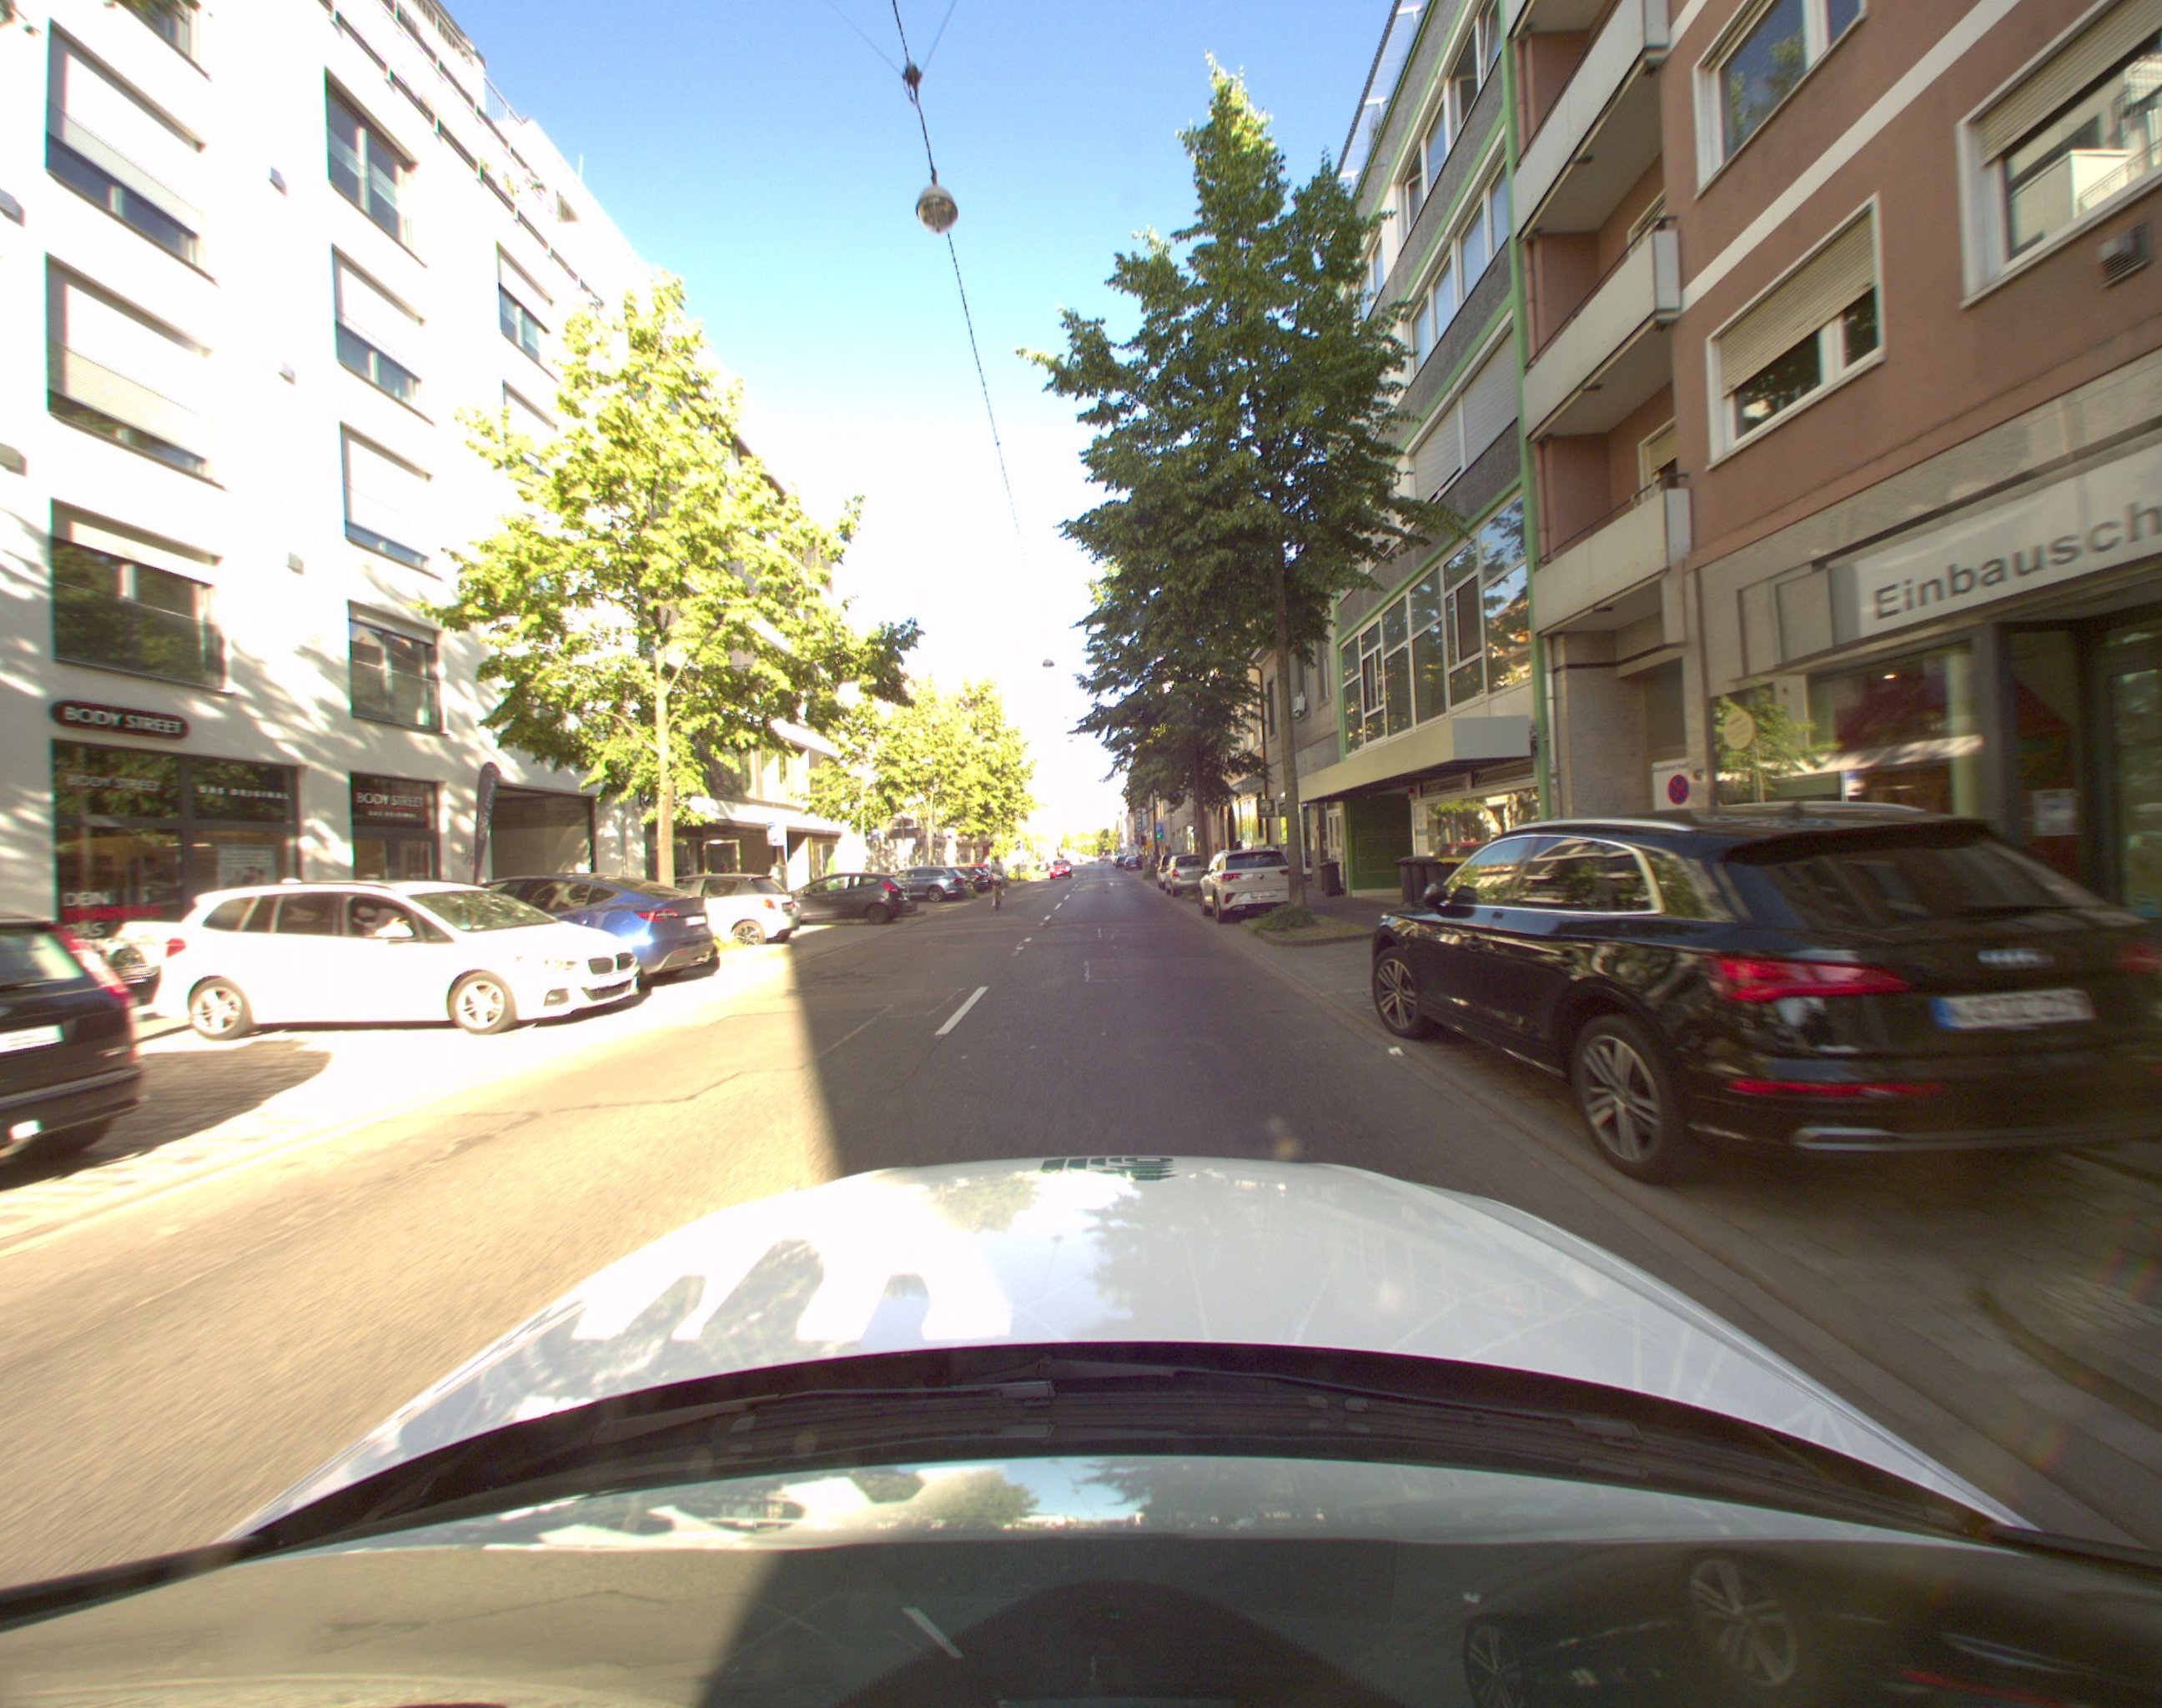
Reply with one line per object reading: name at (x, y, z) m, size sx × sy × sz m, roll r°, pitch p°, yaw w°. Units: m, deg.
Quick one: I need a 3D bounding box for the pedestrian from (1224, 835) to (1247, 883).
pedestrian at (5.897, 0.203, 31.171) m, size 0.620 × 1.765 × 0.771 m, roll -5°, pitch 0°, yaw 2°

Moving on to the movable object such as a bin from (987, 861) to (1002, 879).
movable object such as a bin at (-7.197, 1.320, 67.666) m, size 1.039 × 1.471 × 1.143 m, roll -3°, pitch 0°, yaw 0°

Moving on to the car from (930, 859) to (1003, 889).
car at (-6.339, 1.104, 45.517) m, size 3.735 × 1.468 × 1.740 m, roll -2°, pitch 0°, yaw 0°

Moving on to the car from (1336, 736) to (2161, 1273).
car at (3.336, 0.485, 5.061) m, size 1.987 × 1.689 × 4.517 m, roll -6°, pitch 0°, yaw 1°

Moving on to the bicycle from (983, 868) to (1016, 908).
bicycle at (-2.681, 1.095, 26.955) m, size 0.722 × 1.169 × 2.198 m, roll -3°, pitch 0°, yaw 2°

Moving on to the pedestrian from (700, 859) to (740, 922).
pedestrian at (-10.648, 1.062, 24.036) m, size 0.694 × 1.797 × 0.748 m, roll -3°, pitch 0°, yaw 13°

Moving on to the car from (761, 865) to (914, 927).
car at (-6.742, 1.132, 22.916) m, size 3.776 × 1.458 × 1.777 m, roll -3°, pitch 0°, yaw -6°

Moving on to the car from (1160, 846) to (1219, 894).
car at (4.043, 0.550, 30.909) m, size 1.608 × 1.528 × 4.235 m, roll -6°, pitch 0°, yaw 1°

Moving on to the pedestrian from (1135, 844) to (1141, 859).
pedestrian at (7.159, -0.326, 102.129) m, size 0.617 × 1.766 × 0.519 m, roll -3°, pitch 0°, yaw 4°

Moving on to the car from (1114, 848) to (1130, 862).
car at (5.352, 0.109, 106.261) m, size 1.966 × 1.725 × 4.826 m, roll -2°, pitch 0°, yaw 2°

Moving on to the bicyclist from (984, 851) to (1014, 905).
bicyclist at (-2.700, 0.758, 26.884) m, size 0.722 × 1.700 × 1.283 m, roll -3°, pitch 0°, yaw 2°

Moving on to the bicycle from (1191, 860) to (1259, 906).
bicycle at (3.864, 0.783, 21.908) m, size 1.618 × 1.012 × 0.611 m, roll -7°, pitch 0°, yaw -1°

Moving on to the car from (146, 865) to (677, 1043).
car at (-7.273, 1.031, 9.221) m, size 4.350 × 1.570 × 1.947 m, roll -3°, pitch 0°, yaw 1°

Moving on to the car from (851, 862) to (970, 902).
car at (-7.009, 1.140, 33.771) m, size 4.479 × 1.458 × 1.790 m, roll -1°, pitch 0°, yaw -1°

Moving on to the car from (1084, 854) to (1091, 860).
car at (1.927, 0.986, 257.867) m, size 1.985 × 1.771 × 4.003 m, roll -2°, pitch 1°, yaw 3°

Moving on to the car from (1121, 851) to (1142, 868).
car at (5.312, 0.547, 86.712) m, size 1.910 × 1.478 × 4.966 m, roll -7°, pitch 0°, yaw 2°

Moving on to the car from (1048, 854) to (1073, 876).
car at (-1.584, 0.849, 64.211) m, size 1.652 × 1.535 × 3.762 m, roll -5°, pitch 0°, yaw 2°

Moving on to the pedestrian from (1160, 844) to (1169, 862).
pedestrian at (7.221, -0.075, 70.511) m, size 0.578 × 1.559 × 1.021 m, roll -6°, pitch 0°, yaw 0°

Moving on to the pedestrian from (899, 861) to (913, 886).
pedestrian at (-10.044, 1.117, 46.716) m, size 0.505 × 1.408 × 0.826 m, roll -2°, pitch 0°, yaw 6°

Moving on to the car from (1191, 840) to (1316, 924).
car at (3.758, 0.551, 18.476) m, size 1.876 × 1.527 × 4.234 m, roll -5°, pitch 0°, yaw 1°

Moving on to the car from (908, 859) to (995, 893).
car at (-6.343, 1.082, 40.242) m, size 3.903 × 1.485 × 1.772 m, roll -2°, pitch 0°, yaw 2°

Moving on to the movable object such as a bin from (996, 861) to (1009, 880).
movable object such as a bin at (-5.822, 1.233, 60.459) m, size 0.752 × 1.341 × 0.805 m, roll -3°, pitch 0°, yaw 0°

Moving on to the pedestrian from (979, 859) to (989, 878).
pedestrian at (-8.490, 1.252, 71.614) m, size 0.662 × 1.659 × 1.037 m, roll -3°, pitch 0°, yaw 1°

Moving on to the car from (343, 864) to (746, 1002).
car at (-7.394, 1.043, 11.575) m, size 4.350 × 1.570 × 1.981 m, roll -3°, pitch 0°, yaw 1°

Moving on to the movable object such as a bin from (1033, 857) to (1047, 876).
movable object such as a bin at (-3.393, 1.050, 67.664) m, size 1.038 × 1.471 × 1.452 m, roll -3°, pitch 0°, yaw 0°

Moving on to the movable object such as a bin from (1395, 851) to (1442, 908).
movable object such as a bin at (6.686, 0.499, 16.157) m, size 0.612 × 1.064 × 0.656 m, roll -4°, pitch 0°, yaw 2°

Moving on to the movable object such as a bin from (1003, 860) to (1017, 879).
movable object such as a bin at (-5.888, 1.261, 67.683) m, size 0.961 × 1.471 × 1.143 m, roll -3°, pitch 0°, yaw 0°

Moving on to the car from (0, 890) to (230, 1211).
car at (-7.334, 1.096, 4.284) m, size 3.785 × 1.558 × 1.792 m, roll -3°, pitch 0°, yaw 1°

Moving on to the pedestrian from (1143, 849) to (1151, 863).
pedestrian at (8.302, 0.199, 102.138) m, size 0.797 × 1.674 × 0.590 m, roll -5°, pitch -1°, yaw 4°

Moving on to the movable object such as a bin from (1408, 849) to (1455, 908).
movable object such as a bin at (6.663, 0.459, 15.505) m, size 0.612 × 1.064 × 0.590 m, roll -4°, pitch 0°, yaw 2°

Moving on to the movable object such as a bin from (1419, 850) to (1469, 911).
movable object such as a bin at (6.643, 0.472, 14.927) m, size 0.612 × 1.064 × 0.590 m, roll -4°, pitch 0°, yaw 2°

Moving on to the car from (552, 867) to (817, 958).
car at (-7.727, 1.102, 16.252) m, size 4.235 × 1.458 × 1.978 m, roll -3°, pitch 0°, yaw -3°

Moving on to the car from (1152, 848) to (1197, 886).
car at (4.189, 0.552, 36.881) m, size 1.608 × 1.528 × 3.061 m, roll -5°, pitch 0°, yaw 1°

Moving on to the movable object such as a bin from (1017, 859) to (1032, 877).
movable object such as a bin at (-4.655, 1.154, 67.480) m, size 1.039 × 1.471 × 1.143 m, roll -3°, pitch 0°, yaw 0°

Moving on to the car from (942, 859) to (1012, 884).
car at (-6.704, 1.127, 52.951) m, size 4.185 × 1.468 × 1.741 m, roll -2°, pitch 0°, yaw 3°

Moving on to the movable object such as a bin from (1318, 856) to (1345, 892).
movable object such as a bin at (6.935, 0.553, 22.550) m, size 0.520 × 0.956 × 0.656 m, roll -4°, pitch 0°, yaw 2°

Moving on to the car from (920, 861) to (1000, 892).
car at (-6.347, 1.160, 42.981) m, size 3.825 × 1.429 × 1.791 m, roll -2°, pitch 0°, yaw 2°
